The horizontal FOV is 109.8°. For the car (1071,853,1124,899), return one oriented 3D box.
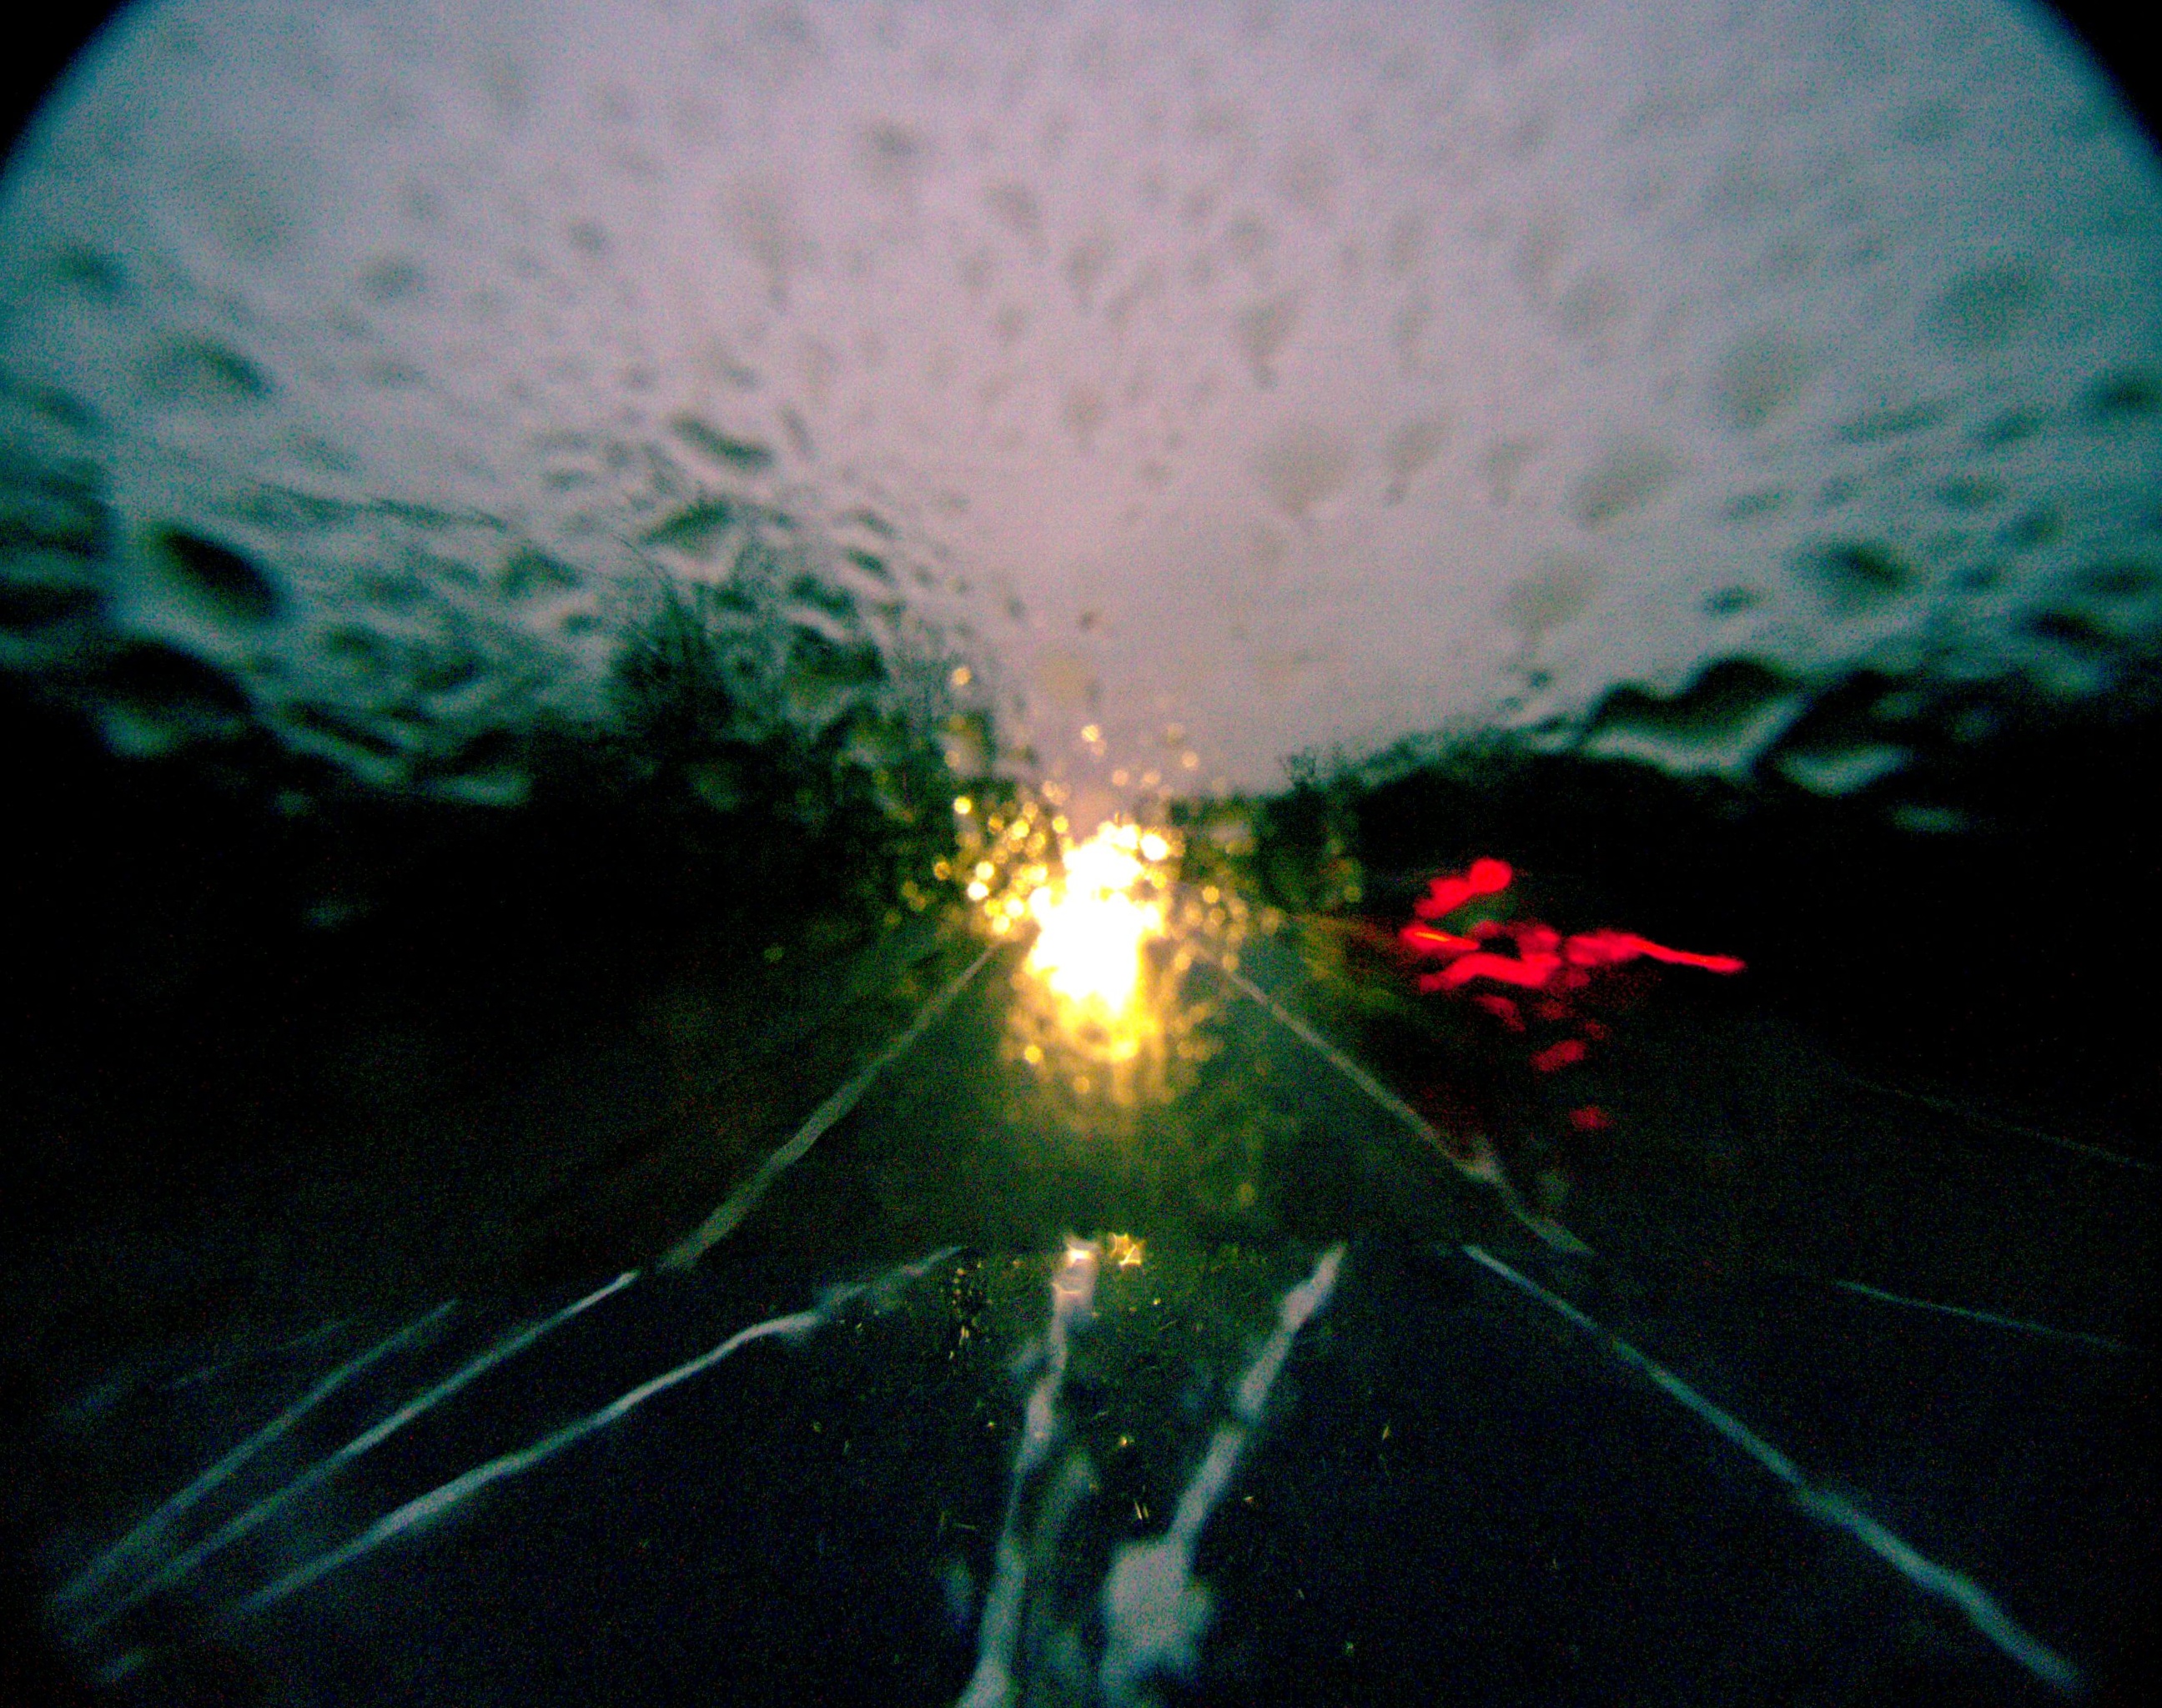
[{"bbox_3d":[0.607,0.781,29.382,1.860,1.604,4.000,-1,0,1],"label":"car"}]

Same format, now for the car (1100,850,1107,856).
[{"bbox_3d":[5.763,-0.211,197.046,1.771,1.589,3.999,1,0,0],"label":"car"}]

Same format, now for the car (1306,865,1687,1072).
[{"bbox_3d":[3.702,0.886,7.681,1.636,1.449,3.982,1,0,0],"label":"car"}]
